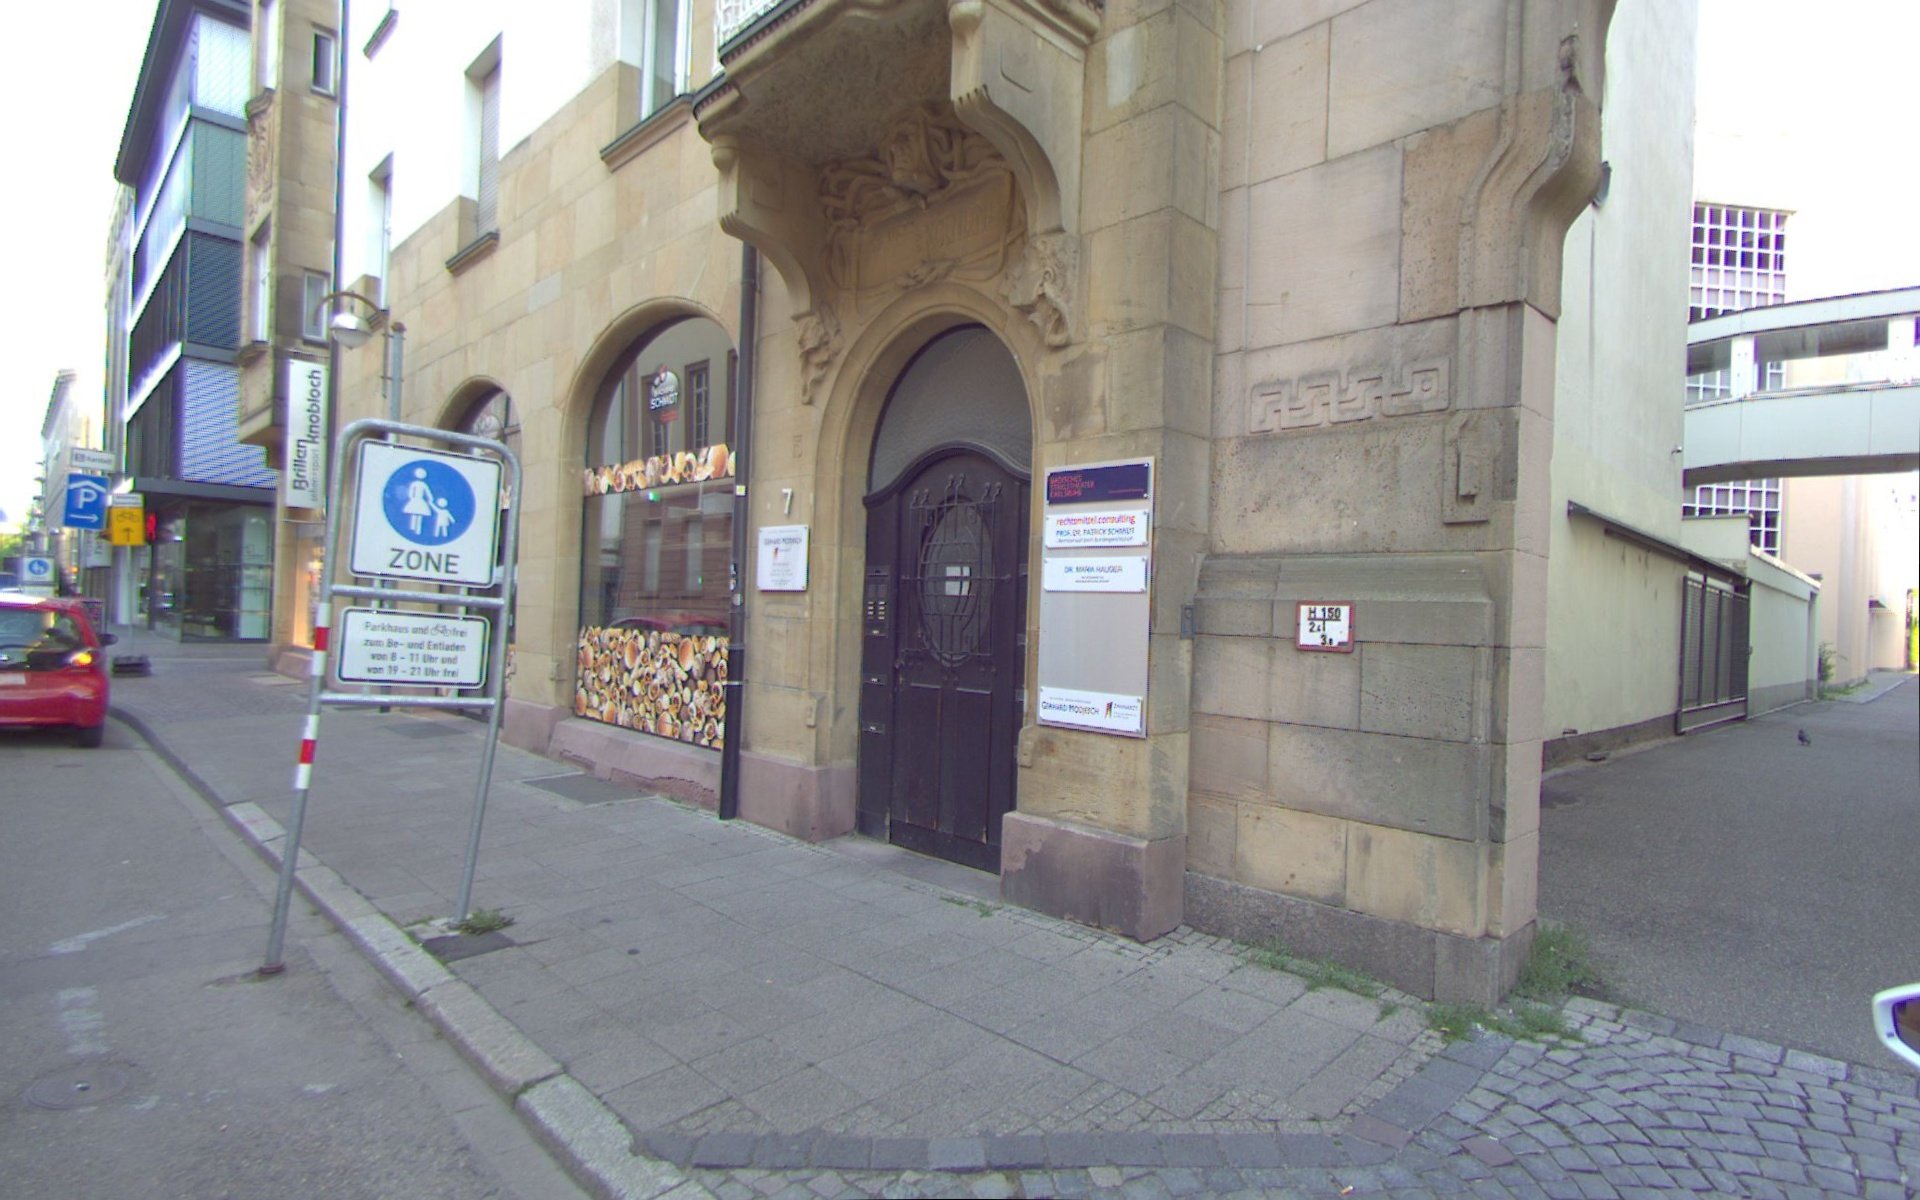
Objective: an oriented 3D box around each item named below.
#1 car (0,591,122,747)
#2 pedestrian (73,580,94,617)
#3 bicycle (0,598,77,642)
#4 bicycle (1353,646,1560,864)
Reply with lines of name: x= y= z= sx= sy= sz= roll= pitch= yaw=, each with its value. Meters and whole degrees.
car: x=-10.077 y=0.645 z=10.614 sx=1.628 sy=1.460 sz=3.116 roll=6 pitch=-3 yaw=-43
pedestrian: x=-40.051 y=-0.064 z=45.888 sx=0.666 sy=1.693 sz=0.754 roll=2 pitch=-1 yaw=-42
bicycle: x=-24.691 y=0.522 z=26.605 sx=1.940 sy=1.145 sz=0.612 roll=0 pitch=0 yaw=-43
bicycle: x=3.062 y=0.853 z=6.104 sx=0.589 sy=1.094 sz=1.745 roll=1 pitch=0 yaw=45
